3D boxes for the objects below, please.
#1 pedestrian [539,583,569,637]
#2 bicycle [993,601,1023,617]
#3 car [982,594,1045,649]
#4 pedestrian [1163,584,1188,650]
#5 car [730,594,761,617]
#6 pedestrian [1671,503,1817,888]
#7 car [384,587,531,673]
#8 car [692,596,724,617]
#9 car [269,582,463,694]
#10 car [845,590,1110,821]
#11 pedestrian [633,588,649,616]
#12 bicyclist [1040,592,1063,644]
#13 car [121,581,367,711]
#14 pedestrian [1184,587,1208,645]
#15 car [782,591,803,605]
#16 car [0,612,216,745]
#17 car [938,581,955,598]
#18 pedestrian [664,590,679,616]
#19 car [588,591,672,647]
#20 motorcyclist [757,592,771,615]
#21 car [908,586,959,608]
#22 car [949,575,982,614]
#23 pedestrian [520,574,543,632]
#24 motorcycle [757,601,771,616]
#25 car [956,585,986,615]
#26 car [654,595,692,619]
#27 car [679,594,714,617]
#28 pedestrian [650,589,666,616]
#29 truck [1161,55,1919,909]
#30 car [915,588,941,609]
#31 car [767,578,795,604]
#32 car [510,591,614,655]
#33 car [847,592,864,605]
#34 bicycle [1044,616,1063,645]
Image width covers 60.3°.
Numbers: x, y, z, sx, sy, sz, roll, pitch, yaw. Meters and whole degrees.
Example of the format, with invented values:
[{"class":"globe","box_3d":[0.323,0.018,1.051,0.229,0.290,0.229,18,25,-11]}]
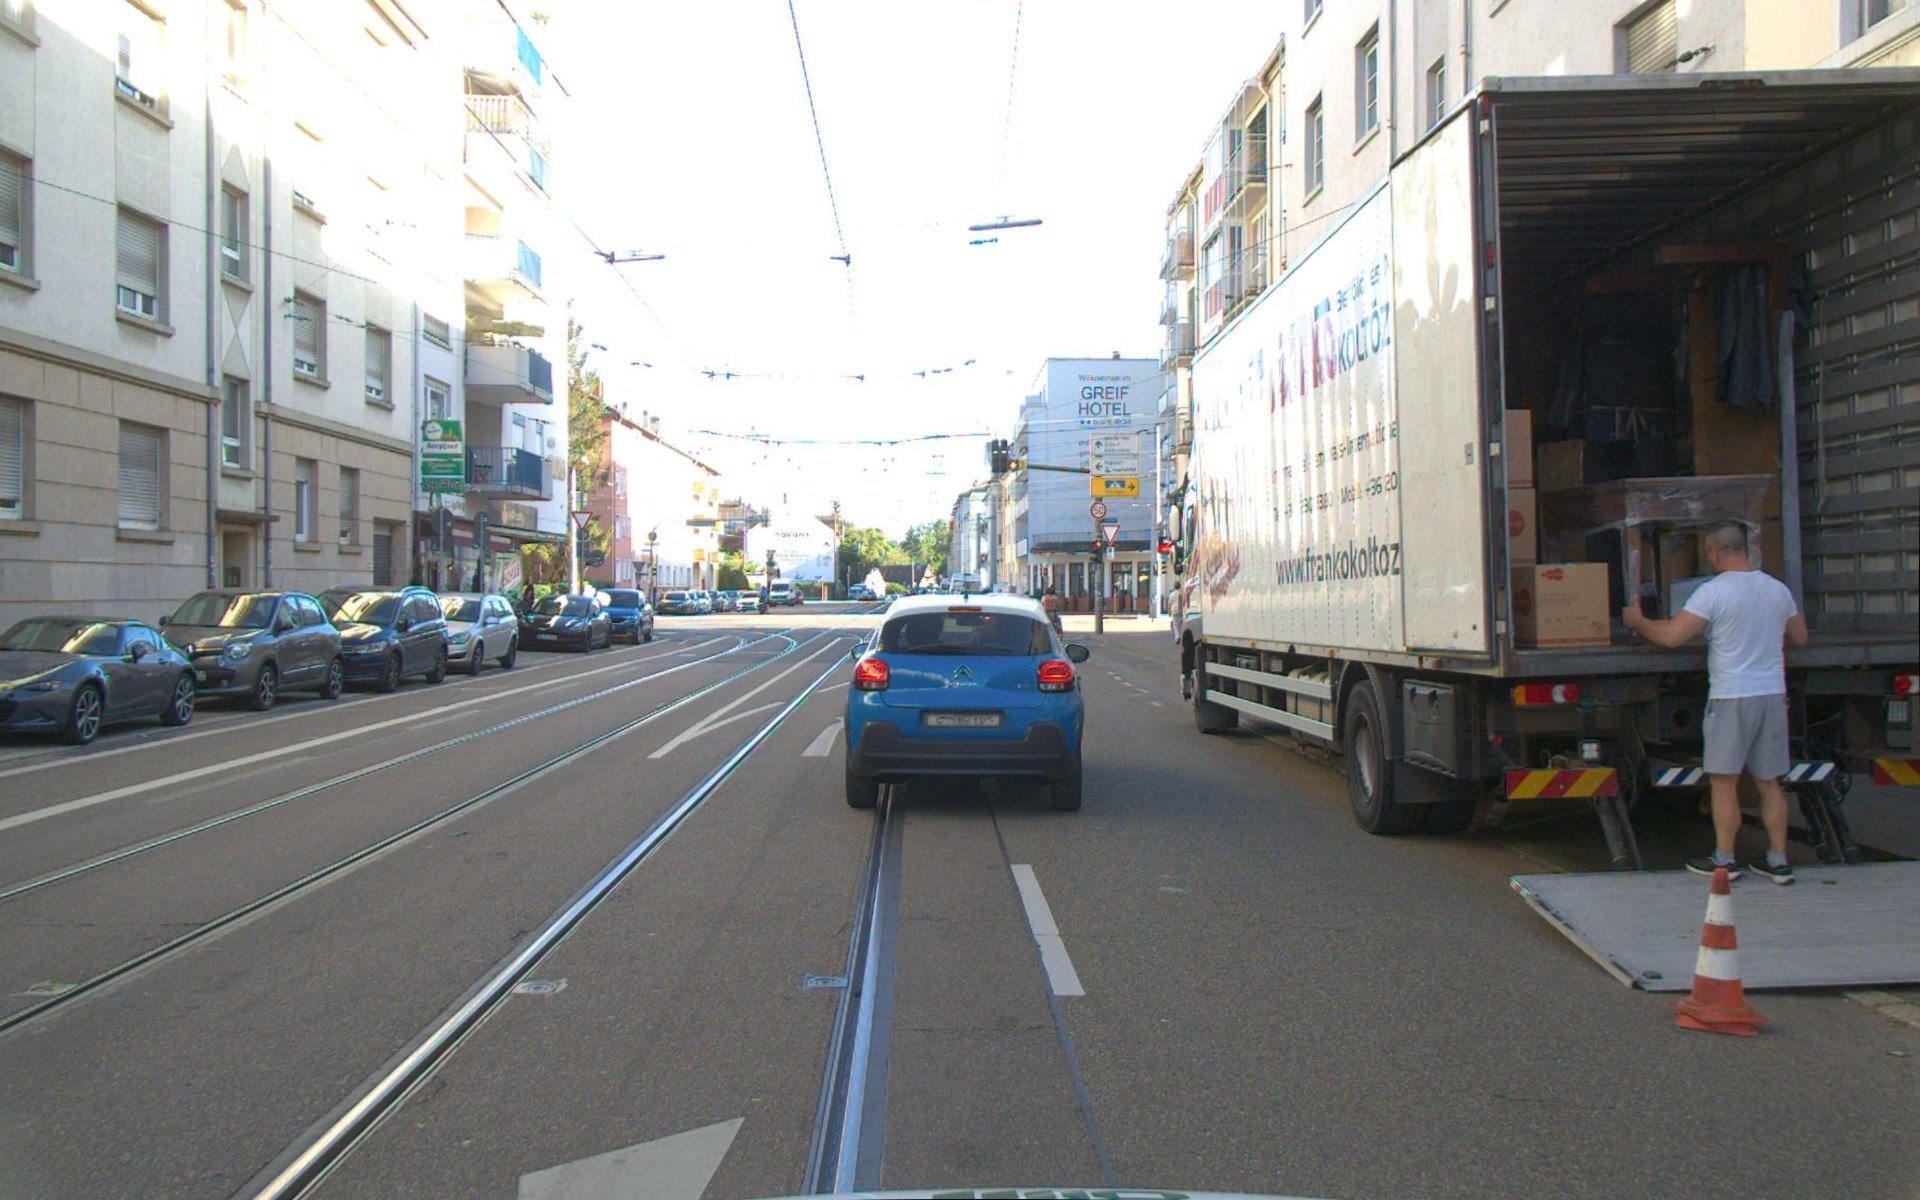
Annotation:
[{"class":"pedestrian","box_3d":[-11.890,0.292,48.439,0.683,1.575,0.721,0,1,2]},{"class":"bicycle","box_3d":[2.910,0.557,100.188,1.834,0.973,0.702,0,0,3]},{"class":"car","box_3d":[1.497,0.579,46.716,1.702,1.445,4.001,1,0,2]},{"class":"pedestrian","box_3d":[5.665,0.436,43.488,0.530,1.701,0.624,-2,2,0]},{"class":"car","box_3d":[-15.693,0.390,121.284,1.812,1.601,4.399,1,0,-2]},{"class":"pedestrian","box_3d":[3.775,0.448,7.987,0.502,1.806,0.415,0,0,-1]},{"class":"car","box_3d":[-9.913,0.573,32.957,1.665,1.536,4.384,2,0,-2]},{"class":"car","box_3d":[-18.229,0.452,119.734,1.872,1.523,3.998,0,0,-2]},{"class":"car","box_3d":[-9.623,0.587,27.160,1.665,1.644,4.242,2,0,-1]},{"class":"car","box_3d":[-0.016,0.692,12.933,1.709,1.488,3.997,2,0,-4]},{"class":"pedestrian","box_3d":[-19.833,0.112,102.893,0.826,1.720,0.737,0,0,4]},{"class":"bicyclist","box_3d":[2.936,0.574,53.204,0.711,1.674,0.790,0,0,1]},{"class":"car","box_3d":[-9.769,0.598,22.918,1.665,1.596,3.999,2,0,-1]},{"class":"pedestrian","box_3d":[6.445,0.426,45.188,0.530,1.534,0.611,-2,2,0]},{"class":"car","box_3d":[-18.082,-0.224,178.343,1.980,1.552,3.998,1,0,-2]},{"class":"car","box_3d":[-9.695,0.776,17.900,1.665,1.237,3.783,2,0,-3]},{"class":"car","box_3d":[-1.328,-1.045,164.816,1.654,1.646,3.999,1,0,-1]},{"class":"pedestrian","box_3d":[-19.170,0.182,109.772,0.826,1.720,0.737,0,0,4]},{"class":"car","box_3d":[-9.766,0.551,49.199,1.709,1.536,3.999,2,0,-1]},{"class":"motorcyclist","box_3d":[-11.929,0.211,100.700,0.704,1.402,0.911,0,0,2]},{"class":"car","box_3d":[-2.026,-0.237,127.725,3.905,1.668,1.814,0,0,0]},{"class":"car","box_3d":[0.361,-0.343,105.661,1.953,2.366,3.999,1,0,-2]},{"class":"pedestrian","box_3d":[-15.285,0.111,58.996,0.673,2.049,0.486,0,0,-4]},{"class":"motorcycle","box_3d":[-11.936,0.503,100.855,0.603,0.879,1.671,0,0,2]},{"class":"car","box_3d":[0.641,0.007,100.733,1.697,1.780,3.213,1,0,-2]},{"class":"car","box_3d":[-17.786,0.429,102.577,1.873,1.458,3.997,0,0,-4]},{"class":"car","box_3d":[-17.979,0.386,112.940,1.872,1.523,3.998,0,0,-2]},{"class":"pedestrian","box_3d":[-20.033,0.163,109.688,0.826,1.720,0.737,0,0,4]},{"class":"truck","box_3d":[3.831,-0.613,13.932,2.801,4.144,11.778,0,0,0]},{"class":"car","box_3d":[-2.413,-0.091,124.068,1.953,1.534,3.999,0,0,-1]},{"class":"car","box_3d":[-16.542,-0.842,152.991,2.162,2.290,4.675,0,0,-2]},{"class":"car","box_3d":[-10.303,0.588,43.083,1.665,1.536,4.311,2,0,-1]},{"class":"car","box_3d":[-12.860,-0.219,203.086,1.980,1.552,3.998,1,0,-2]},{"class":"bicycle","box_3d":[3.024,0.978,53.597,0.488,0.879,1.748,0,0,-1]}]
